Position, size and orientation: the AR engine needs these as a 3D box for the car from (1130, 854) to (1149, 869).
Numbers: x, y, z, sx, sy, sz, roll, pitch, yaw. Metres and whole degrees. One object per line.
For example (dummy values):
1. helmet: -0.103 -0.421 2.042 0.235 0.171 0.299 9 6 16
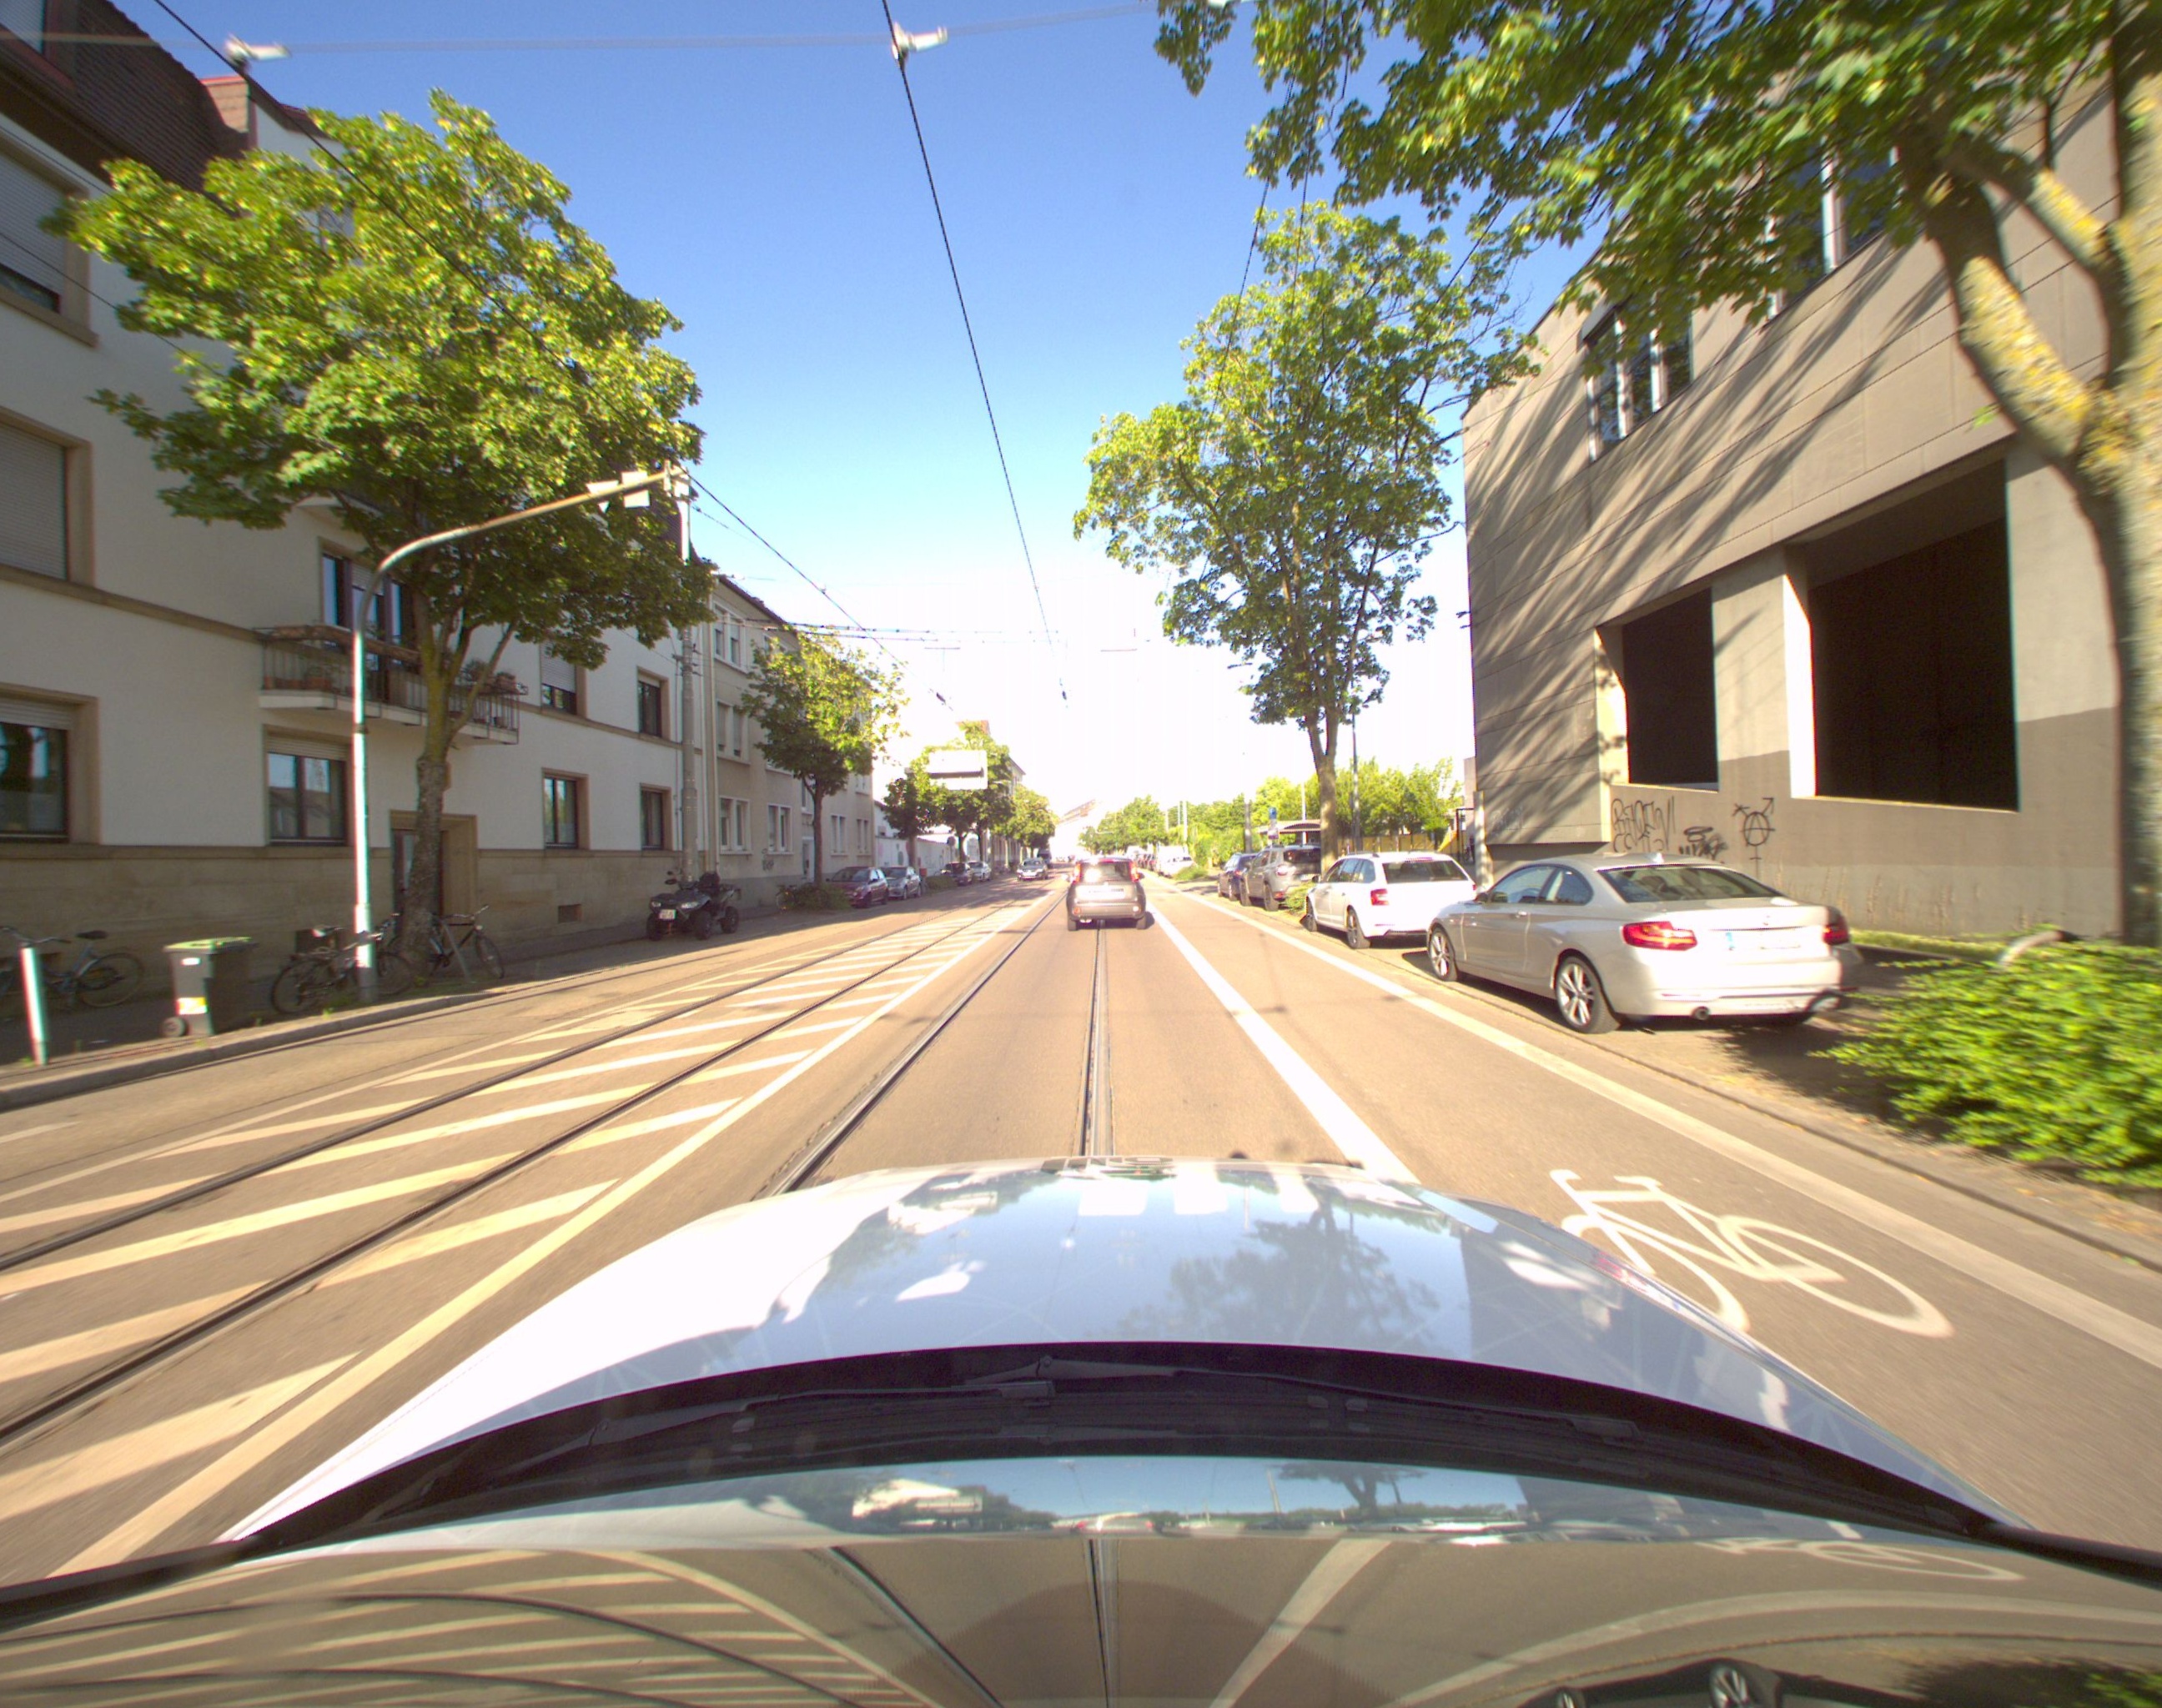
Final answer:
1. car: 6.094 0.763 85.622 1.690 1.499 4.000 -2 0 0

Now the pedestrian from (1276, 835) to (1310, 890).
1. pedestrian: 7.921 0.312 30.456 0.964 2.013 1.026 -2 0 2

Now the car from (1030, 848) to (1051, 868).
1. car: -5.578 0.511 112.066 2.325 2.569 5.673 -2 0 1

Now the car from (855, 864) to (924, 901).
1. car: -8.296 1.196 35.615 1.950 1.419 4.187 -2 0 0

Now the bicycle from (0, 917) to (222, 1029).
1. bicycle: -11.394 1.328 9.516 0.504 1.007 2.020 -2 0 1

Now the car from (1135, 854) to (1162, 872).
1. car: 5.809 0.751 70.791 1.950 1.419 4.187 -2 0 0

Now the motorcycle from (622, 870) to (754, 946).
1. motorcycle: -8.955 1.175 18.813 1.453 1.481 3.102 -2 0 0

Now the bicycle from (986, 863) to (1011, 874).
1. bicycle: -7.525 1.346 74.045 2.236 0.930 0.796 -2 0 37

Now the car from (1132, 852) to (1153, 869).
1. car: 5.969 0.617 79.202 1.690 1.547 4.000 -2 0 0

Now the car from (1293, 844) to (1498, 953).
1. car: 4.991 0.619 13.686 1.739 1.458 4.620 -2 0 2

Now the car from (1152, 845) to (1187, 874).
1. car: 6.156 0.384 57.113 1.950 1.905 4.187 -2 0 0

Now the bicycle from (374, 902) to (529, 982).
1. bicycle: -9.043 1.243 11.760 1.711 1.033 0.441 -1 -1 -20

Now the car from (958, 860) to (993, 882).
1. car: -7.523 1.200 58.438 1.950 1.419 4.187 -2 0 0

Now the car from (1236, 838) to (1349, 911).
1. car: 5.374 0.483 21.242 1.811 1.640 4.104 -2 0 0

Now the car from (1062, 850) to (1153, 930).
1. car: 0.580 0.722 17.923 1.725 1.500 4.001 -2 -1 2

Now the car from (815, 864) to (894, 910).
1. car: -8.361 1.166 30.373 1.792 1.486 3.999 -2 0 0

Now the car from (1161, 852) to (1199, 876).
1. car: 6.296 0.608 52.196 1.908 1.375 4.187 -2 0 0

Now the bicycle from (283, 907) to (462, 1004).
1. bicycle: -8.739 1.224 10.125 1.618 1.044 0.454 0 -1 -31

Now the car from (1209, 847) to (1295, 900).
1. car: 5.429 0.584 26.341 1.836 1.483 4.187 -2 0 0

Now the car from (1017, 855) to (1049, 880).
1. car: -3.106 0.834 53.290 1.775 1.492 4.187 -2 0 0

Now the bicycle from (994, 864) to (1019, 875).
1. bicycle: -6.872 1.389 75.061 2.295 0.930 0.796 -2 0 37

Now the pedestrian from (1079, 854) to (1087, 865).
1. pedestrian: 0.292 0.849 133.242 1.004 1.774 0.883 -2 0 -26

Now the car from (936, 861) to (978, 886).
1. car: -7.739 1.185 51.127 1.950 1.419 4.187 -2 0 0

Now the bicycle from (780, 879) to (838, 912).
1. bicycle: -8.820 1.333 26.406 1.749 1.023 0.605 -1 -1 -19

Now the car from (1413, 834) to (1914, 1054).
1. car: 4.898 0.627 7.745 1.816 1.464 4.157 -2 0 1

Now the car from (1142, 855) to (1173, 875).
1. car: 5.836 0.841 62.825 1.950 1.419 4.187 -2 0 0
